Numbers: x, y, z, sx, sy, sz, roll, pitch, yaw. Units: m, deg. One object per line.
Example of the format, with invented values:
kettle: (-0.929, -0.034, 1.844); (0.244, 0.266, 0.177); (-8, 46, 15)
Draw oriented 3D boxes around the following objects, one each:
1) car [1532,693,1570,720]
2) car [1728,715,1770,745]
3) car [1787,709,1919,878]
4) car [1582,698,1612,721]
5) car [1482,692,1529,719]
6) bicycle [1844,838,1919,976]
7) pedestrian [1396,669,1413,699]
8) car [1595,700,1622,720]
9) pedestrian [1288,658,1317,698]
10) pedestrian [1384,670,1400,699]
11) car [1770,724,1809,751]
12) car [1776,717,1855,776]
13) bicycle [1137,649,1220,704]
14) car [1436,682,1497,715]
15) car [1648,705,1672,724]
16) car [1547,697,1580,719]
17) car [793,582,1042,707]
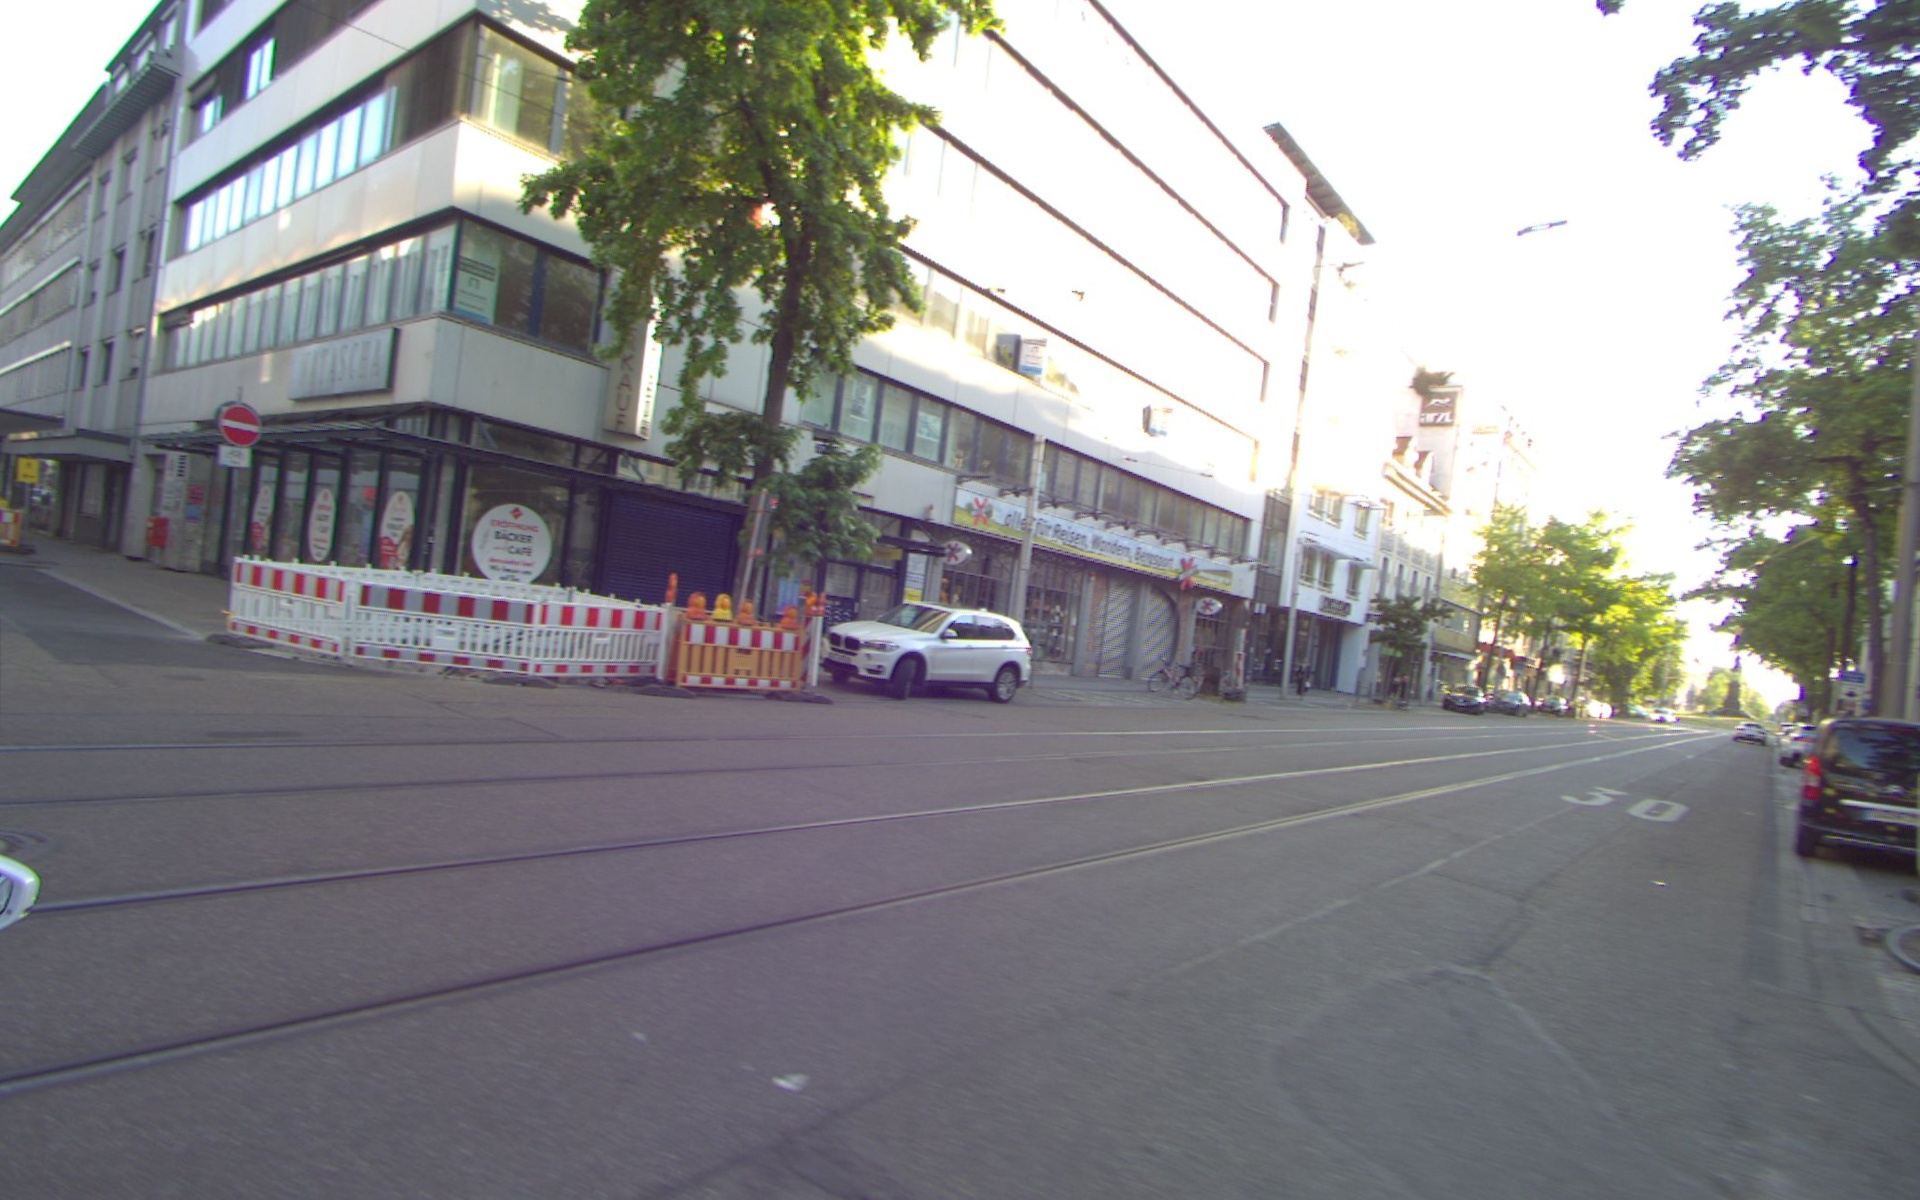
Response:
car: (44.022, 7.943, 74.868); (1.874, 1.713, 4.092); (7, -1, 37)
car: (55.196, 9.069, 70.354); (1.972, 1.758, 4.087); (6, -1, 41)
car: (11.987, 2.436, 12.989); (1.750, 1.785, 3.859); (3, -3, 43)
car: (57.607, 9.910, 90.931); (1.714, 1.758, 4.089); (7, -1, 39)
car: (33.345, 6.450, 61.417); (1.713, 1.335, 4.090); (9, 0, 38)
bicycle: (7.309, 2.207, 6.592); (2.044, 0.714, 1.328); (6, -2, 34)
pedestrian: (24.338, 4.618, 55.106); (0.471, 1.576, 0.745); (8, 1, 40)
car: (64.715, 11.012, 100.413); (1.714, 1.758, 4.089); (7, -1, 39)
pedestrian: (14.541, 3.315, 42.735); (0.720, 1.578, 0.835); (8, 1, 42)
pedestrian: (23.800, 4.654, 55.404); (0.471, 1.567, 0.745); (7, 1, 40)
car: (59.657, 9.854, 72.329); (1.972, 1.567, 4.087); (6, -1, 41)
car: (32.048, 5.446, 37.785); (1.971, 1.758, 4.089); (7, -1, 39)
bicycle: (6.258, 2.187, 28.899); (0.756, 1.174, 2.138); (6, 3, -44)
car: (27.259, 5.322, 54.108); (1.974, 1.379, 4.089); (9, 0, 39)
car: (76.037, 12.411, 109.316); (1.714, 1.758, 4.089); (7, -1, 39)
car: (47.428, 8.508, 79.041); (1.662, 1.498, 3.833); (7, -1, 38)
car: (-0.689, 0.925, 19.421); (1.971, 1.792, 4.650); (10, 1, 41)
